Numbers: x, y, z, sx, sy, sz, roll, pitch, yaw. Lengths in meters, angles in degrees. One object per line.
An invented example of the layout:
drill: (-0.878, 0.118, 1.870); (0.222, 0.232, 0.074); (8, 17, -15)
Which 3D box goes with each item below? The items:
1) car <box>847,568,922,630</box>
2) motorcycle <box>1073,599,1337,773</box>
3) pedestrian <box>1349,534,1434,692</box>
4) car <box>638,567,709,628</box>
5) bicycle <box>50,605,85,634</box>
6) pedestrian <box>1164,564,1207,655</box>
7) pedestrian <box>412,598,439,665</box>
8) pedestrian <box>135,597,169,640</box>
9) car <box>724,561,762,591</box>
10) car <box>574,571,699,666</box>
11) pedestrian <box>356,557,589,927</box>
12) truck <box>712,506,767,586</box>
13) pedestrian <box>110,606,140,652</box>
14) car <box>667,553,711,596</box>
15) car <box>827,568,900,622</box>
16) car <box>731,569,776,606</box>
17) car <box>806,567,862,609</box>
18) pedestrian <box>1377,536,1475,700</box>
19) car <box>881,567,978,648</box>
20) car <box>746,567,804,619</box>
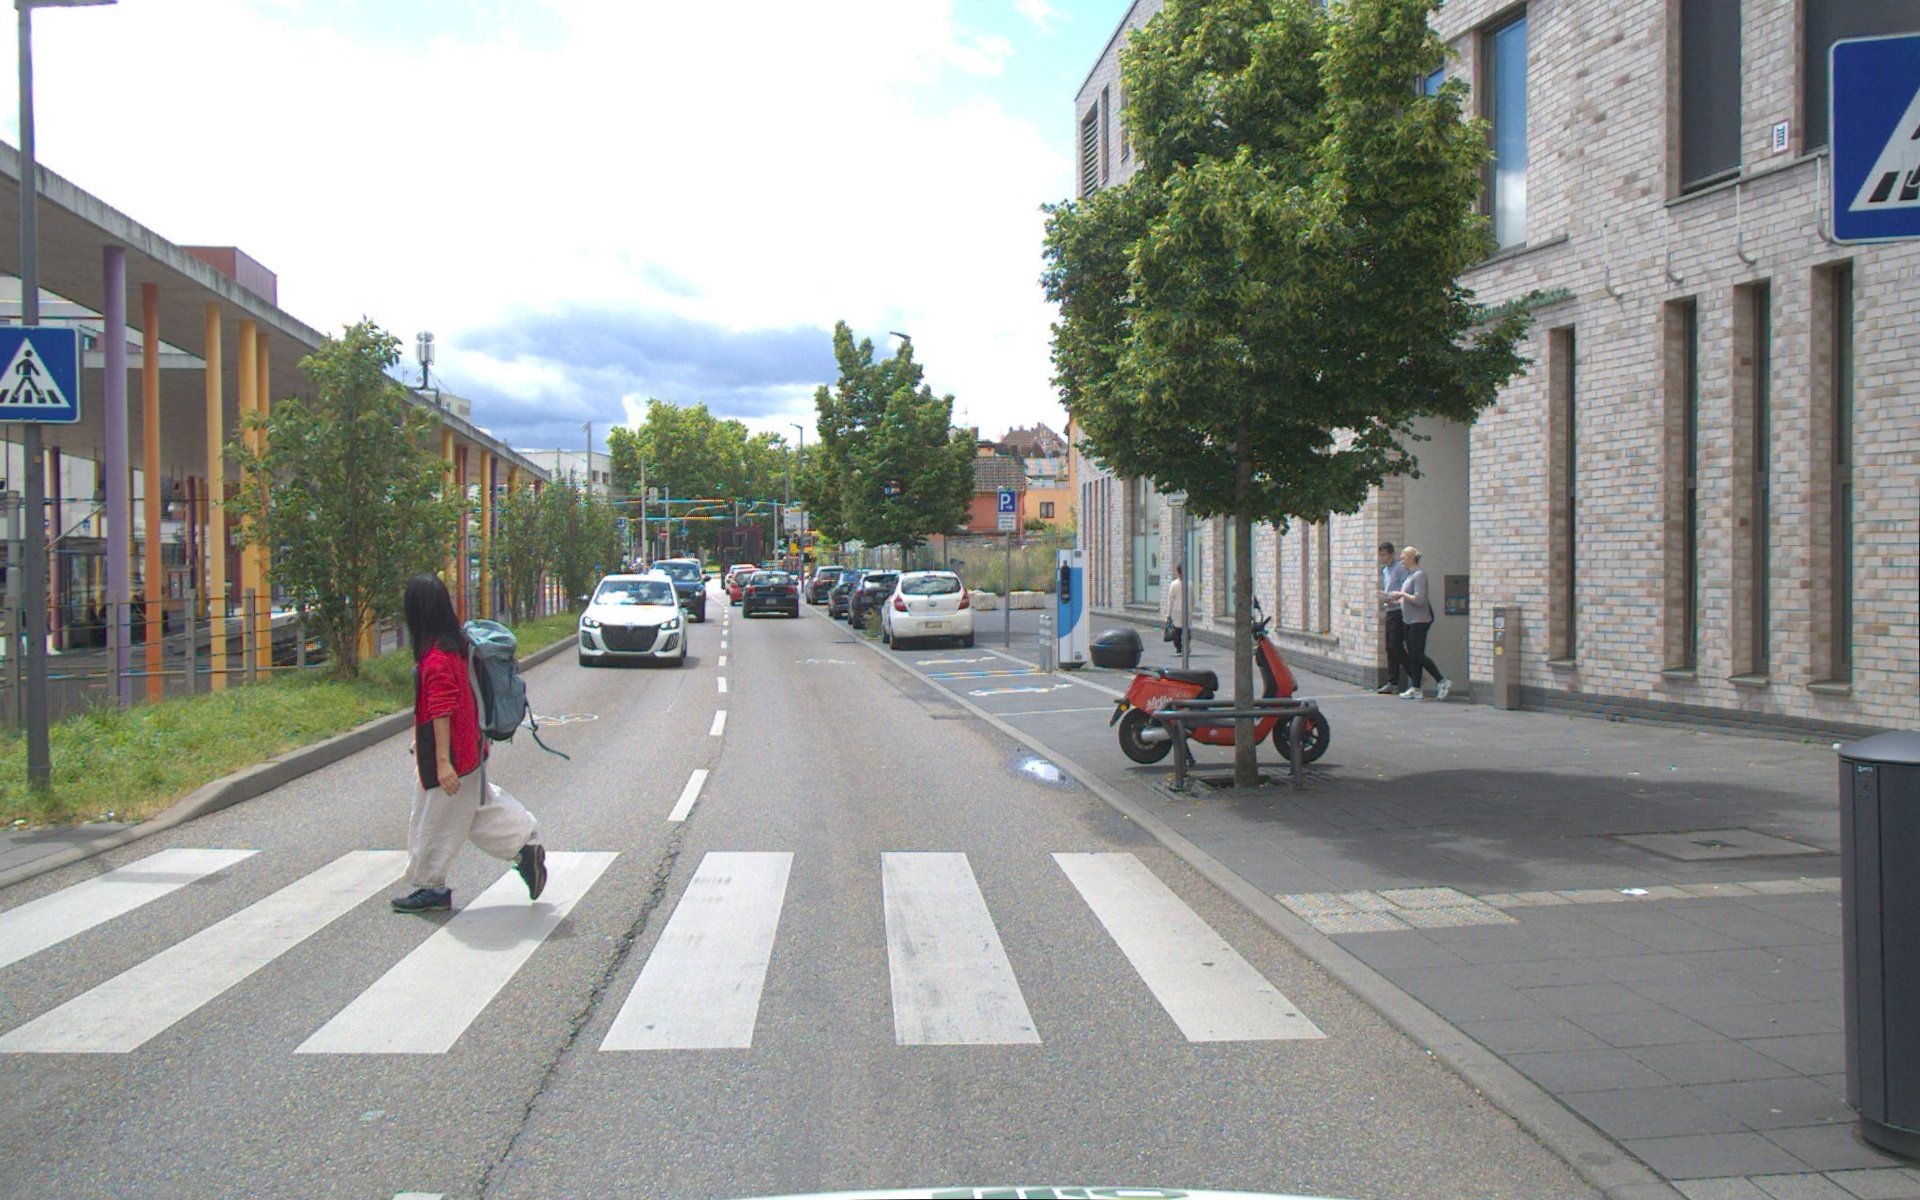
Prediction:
car: (-2.029, -0.074, 43.475); (1.660, 1.486, 4.141); (-2, 1, -6)
motorcycle: (1.968, 0.683, 13.310); (2.006, 1.288, 0.673); (-2, 0, 10)
pedestrian: (5.048, 0.150, 19.371); (0.723, 1.797, 0.621); (-1, 0, -14)
car: (-8.209, -0.101, 47.525); (1.884, 1.633, 4.617); (1, 1, -10)
bicycle: (-30.796, 0.682, 57.084); (0.474, 0.980, 1.611); (1, -1, -5)
pedestrian: (3.829, 0.154, 28.106); (0.595, 1.498, 0.791); (-2, 1, 0)
pedestrian: (-14.981, 0.890, 46.360); (0.575, 1.862, 0.709); (1, -1, -6)
pedestrian: (-26.600, 0.604, 54.476); (0.807, 1.403, 0.701); (1, 2, -7)
car: (-11.432, -1.240, 87.113); (1.853, 1.491, 4.061); (-2, 0, -9)
car: (-5.418, 0.269, 28.085); (1.777, 1.494, 3.902); (1, 1, -7)
pedestrian: (-2.207, 0.619, 7.609); (0.910, 1.592, 0.813); (1, -1, -10)
truck: (-13.774, -3.219, 102.744); (3.144, 4.615, 9.009); (0, 0, -9)
pedestrian: (-26.391, 0.913, 52.296); (0.639, 1.403, 0.701); (1, 2, -7)
car: (-13.040, -1.221, 79.531); (1.967, 1.950, 5.053); (1, 1, -10)
car: (-2.968, -0.191, 49.832); (1.830, 1.476, 4.636); (-2, 1, -7)
car: (-8.543, -0.541, 68.143); (1.680, 1.417, 3.801); (-1, 2, -9)
car: (-4.926, -0.496, 64.253); (1.749, 1.477, 4.467); (-2, 1, -9)
pedestrian: (5.251, 0.197, 18.646); (0.722, 1.797, 0.753); (-1, 0, -22)
car: (-0.685, 0.106, 34.127); (1.660, 1.509, 3.793); (-2, 1, -6)
car: (-5.809, -0.249, 51.590); (1.694, 1.482, 3.803); (-1, 2, -8)
